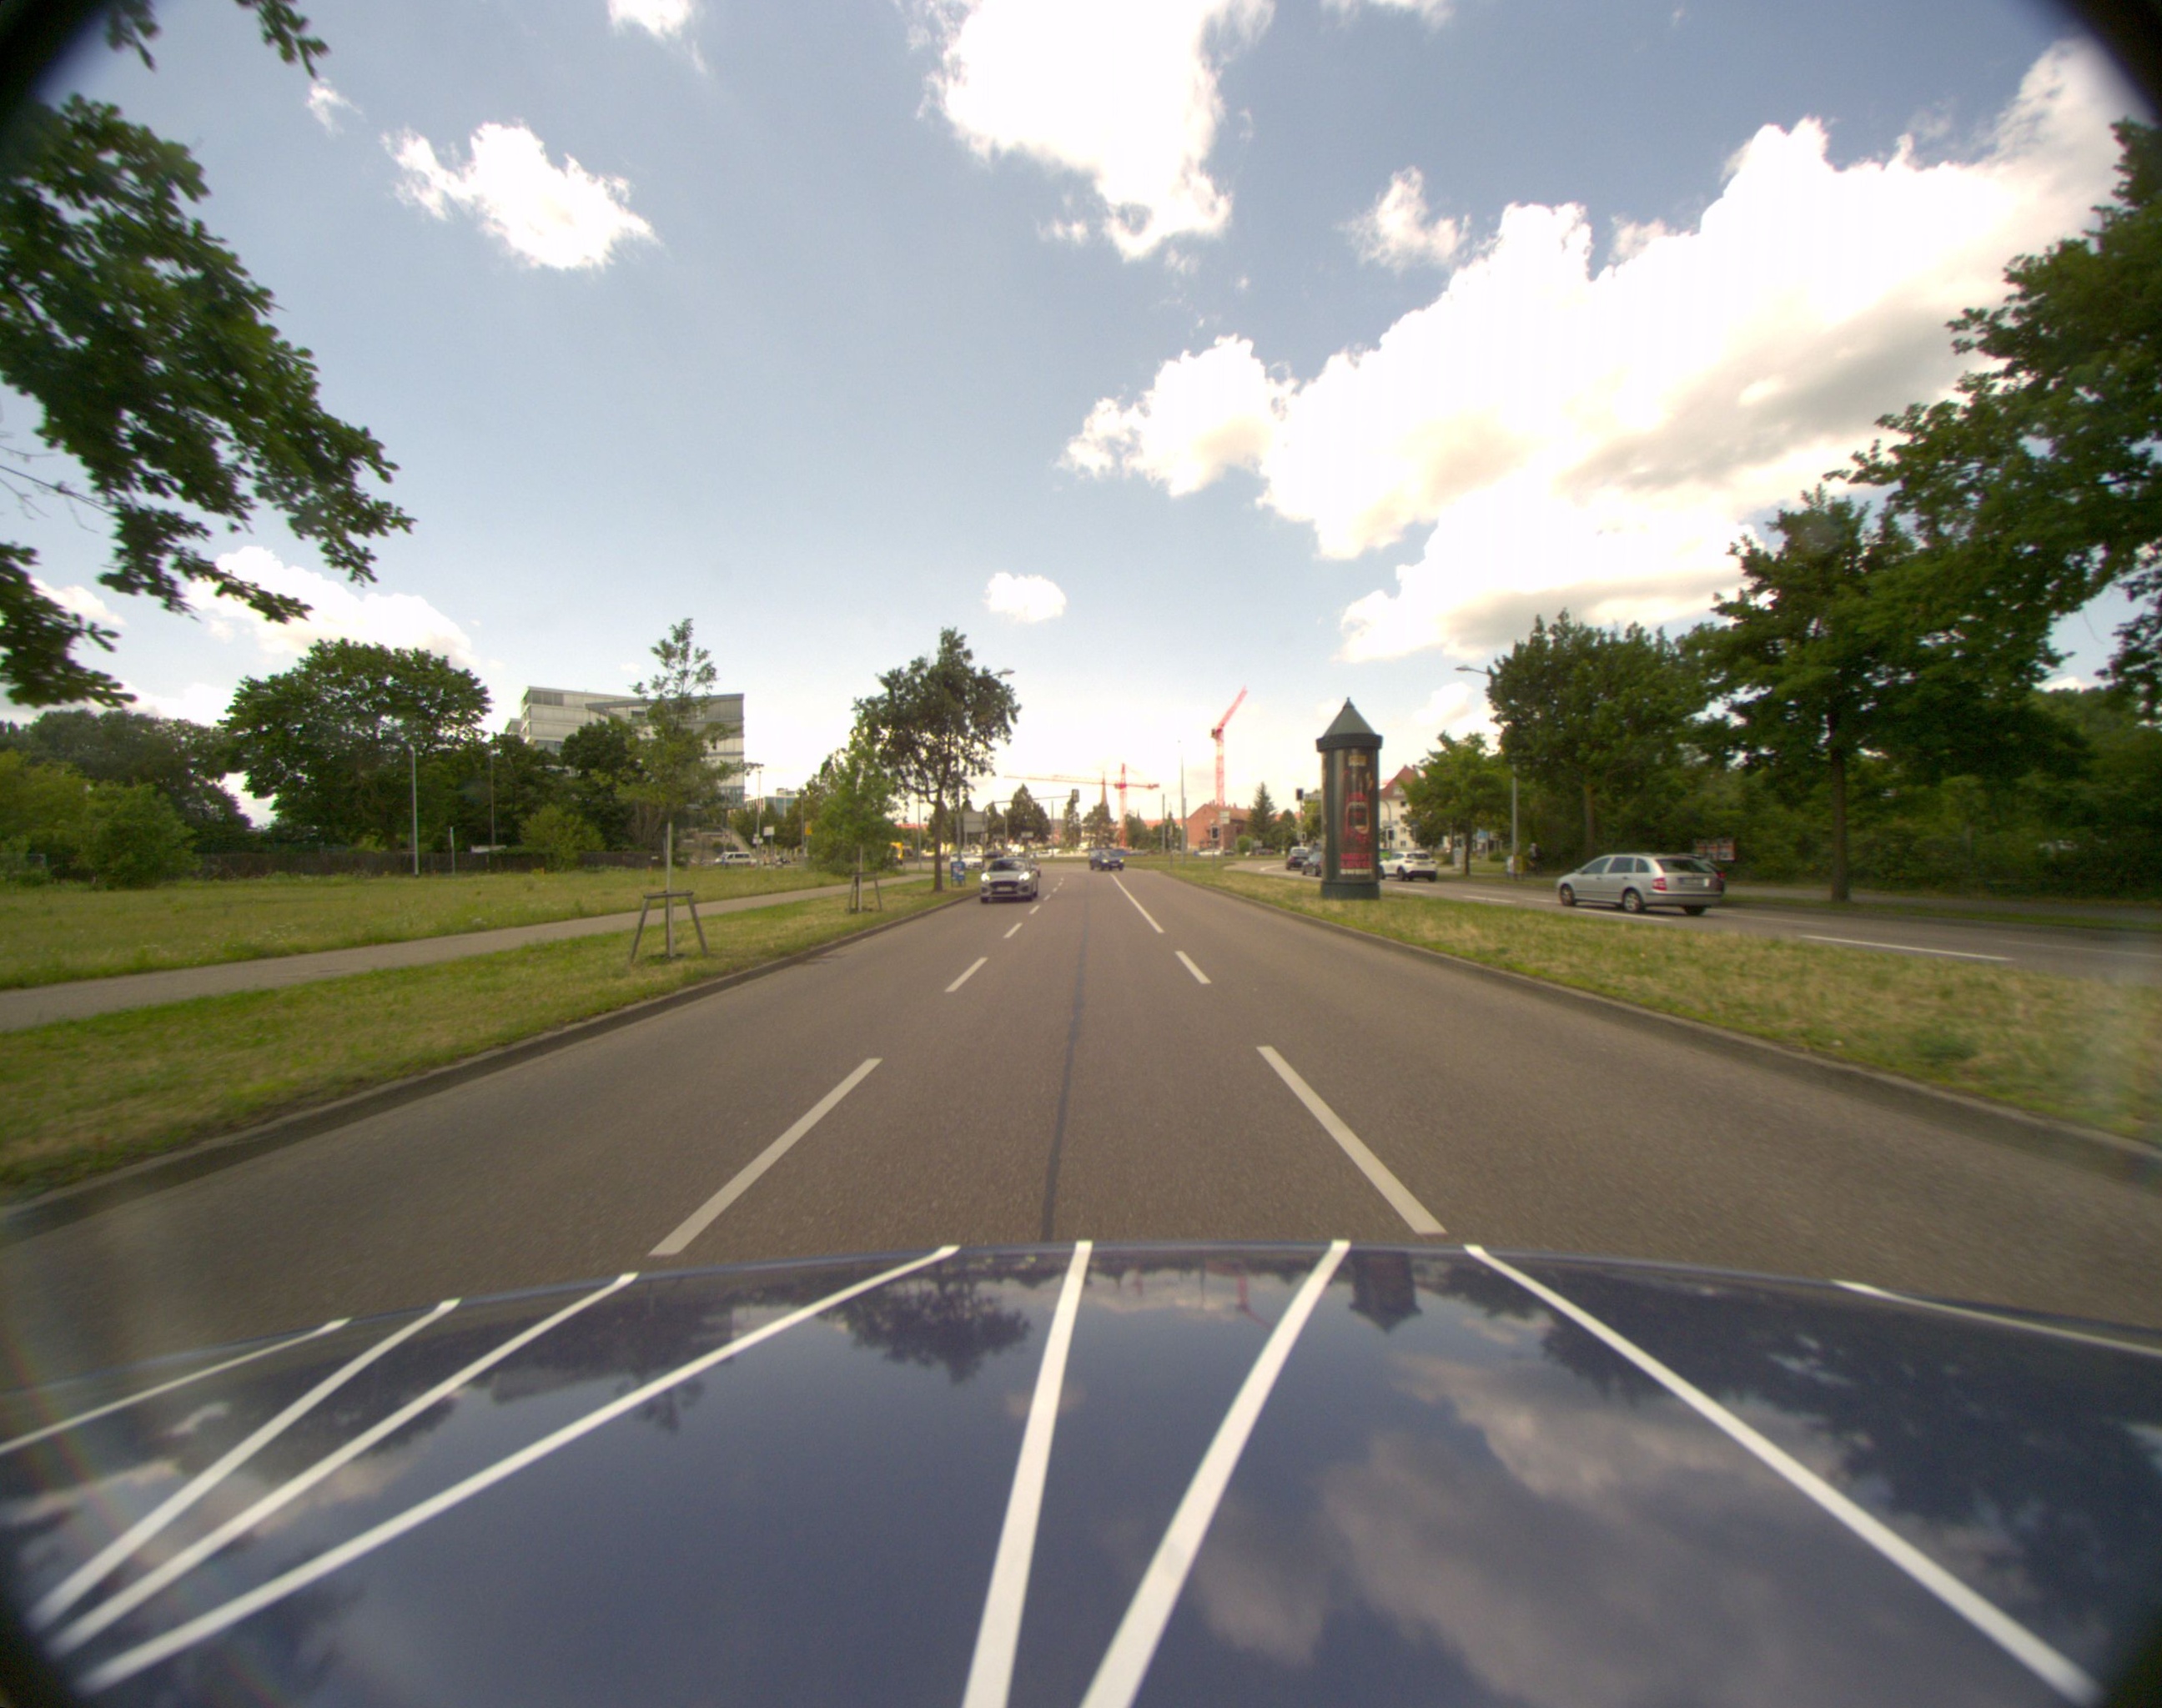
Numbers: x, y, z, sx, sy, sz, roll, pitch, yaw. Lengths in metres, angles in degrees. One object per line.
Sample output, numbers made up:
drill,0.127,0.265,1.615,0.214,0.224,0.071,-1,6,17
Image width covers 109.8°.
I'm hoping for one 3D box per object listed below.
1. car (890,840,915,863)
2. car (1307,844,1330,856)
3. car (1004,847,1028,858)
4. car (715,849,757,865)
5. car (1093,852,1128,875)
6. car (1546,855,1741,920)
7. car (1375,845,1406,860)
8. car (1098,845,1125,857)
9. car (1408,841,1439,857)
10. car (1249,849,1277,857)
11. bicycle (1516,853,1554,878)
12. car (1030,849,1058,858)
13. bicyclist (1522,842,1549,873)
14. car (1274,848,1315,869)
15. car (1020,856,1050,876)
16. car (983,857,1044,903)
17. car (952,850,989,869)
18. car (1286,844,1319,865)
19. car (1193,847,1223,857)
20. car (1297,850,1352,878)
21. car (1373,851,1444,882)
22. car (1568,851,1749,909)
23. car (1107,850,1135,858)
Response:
car,-22.537,-0.274,95.787,2.288,2.836,7.244,-1,0,-19
car,32.588,-0.612,104.351,1.912,1.583,4.592,-1,1,3
car,-12.276,-0.248,143.424,2.004,2.002,4.712,-1,1,-42
car,-50.756,0.459,111.863,2.143,2.135,5.161,-1,1,30
car,2.291,0.706,59.873,1.776,1.590,4.122,-3,2,-12
car,13.887,0.749,19.129,1.767,1.431,4.309,0,0,1
car,30.191,-0.133,74.082,1.616,1.340,4.180,2,1,39
car,5.080,-0.499,126.217,4.401,1.788,1.757,-1,0,9
car,38.419,-0.551,85.096,1.994,1.677,4.797,0,1,39
car,29.001,-0.138,120.907,3.968,1.332,1.807,1,0,35
bicycle,23.452,0.572,39.307,0.762,1.212,2.016,-3,1,1
car,-6.064,-0.104,124.217,4.314,1.322,1.997,-1,0,-18
bicyclist,23.416,0.161,39.178,0.832,1.556,0.883,-3,1,1
car,16.136,0.314,57.673,1.842,1.471,4.752,1,1,1
car,-3.141,0.762,51.510,1.675,1.254,4.089,-1,0,-8
car,-2.359,0.871,27.390,1.673,1.462,4.092,-2,1,2
car,-9.914,0.460,67.884,1.677,1.590,4.117,-3,2,-31
car,19.523,0.035,66.911,1.839,1.789,4.796,2,1,27
car,21.152,-0.294,126.868,4.495,1.513,2.128,-1,0,32
car,14.560,0.539,45.688,1.726,1.581,5.013,0,0,1
car,17.306,0.617,40.354,1.914,1.532,4.368,0,0,1
car,17.524,0.716,23.444,1.767,1.568,5.031,0,0,0
car,6.766,-0.025,129.114,4.483,1.315,1.956,-1,0,13
